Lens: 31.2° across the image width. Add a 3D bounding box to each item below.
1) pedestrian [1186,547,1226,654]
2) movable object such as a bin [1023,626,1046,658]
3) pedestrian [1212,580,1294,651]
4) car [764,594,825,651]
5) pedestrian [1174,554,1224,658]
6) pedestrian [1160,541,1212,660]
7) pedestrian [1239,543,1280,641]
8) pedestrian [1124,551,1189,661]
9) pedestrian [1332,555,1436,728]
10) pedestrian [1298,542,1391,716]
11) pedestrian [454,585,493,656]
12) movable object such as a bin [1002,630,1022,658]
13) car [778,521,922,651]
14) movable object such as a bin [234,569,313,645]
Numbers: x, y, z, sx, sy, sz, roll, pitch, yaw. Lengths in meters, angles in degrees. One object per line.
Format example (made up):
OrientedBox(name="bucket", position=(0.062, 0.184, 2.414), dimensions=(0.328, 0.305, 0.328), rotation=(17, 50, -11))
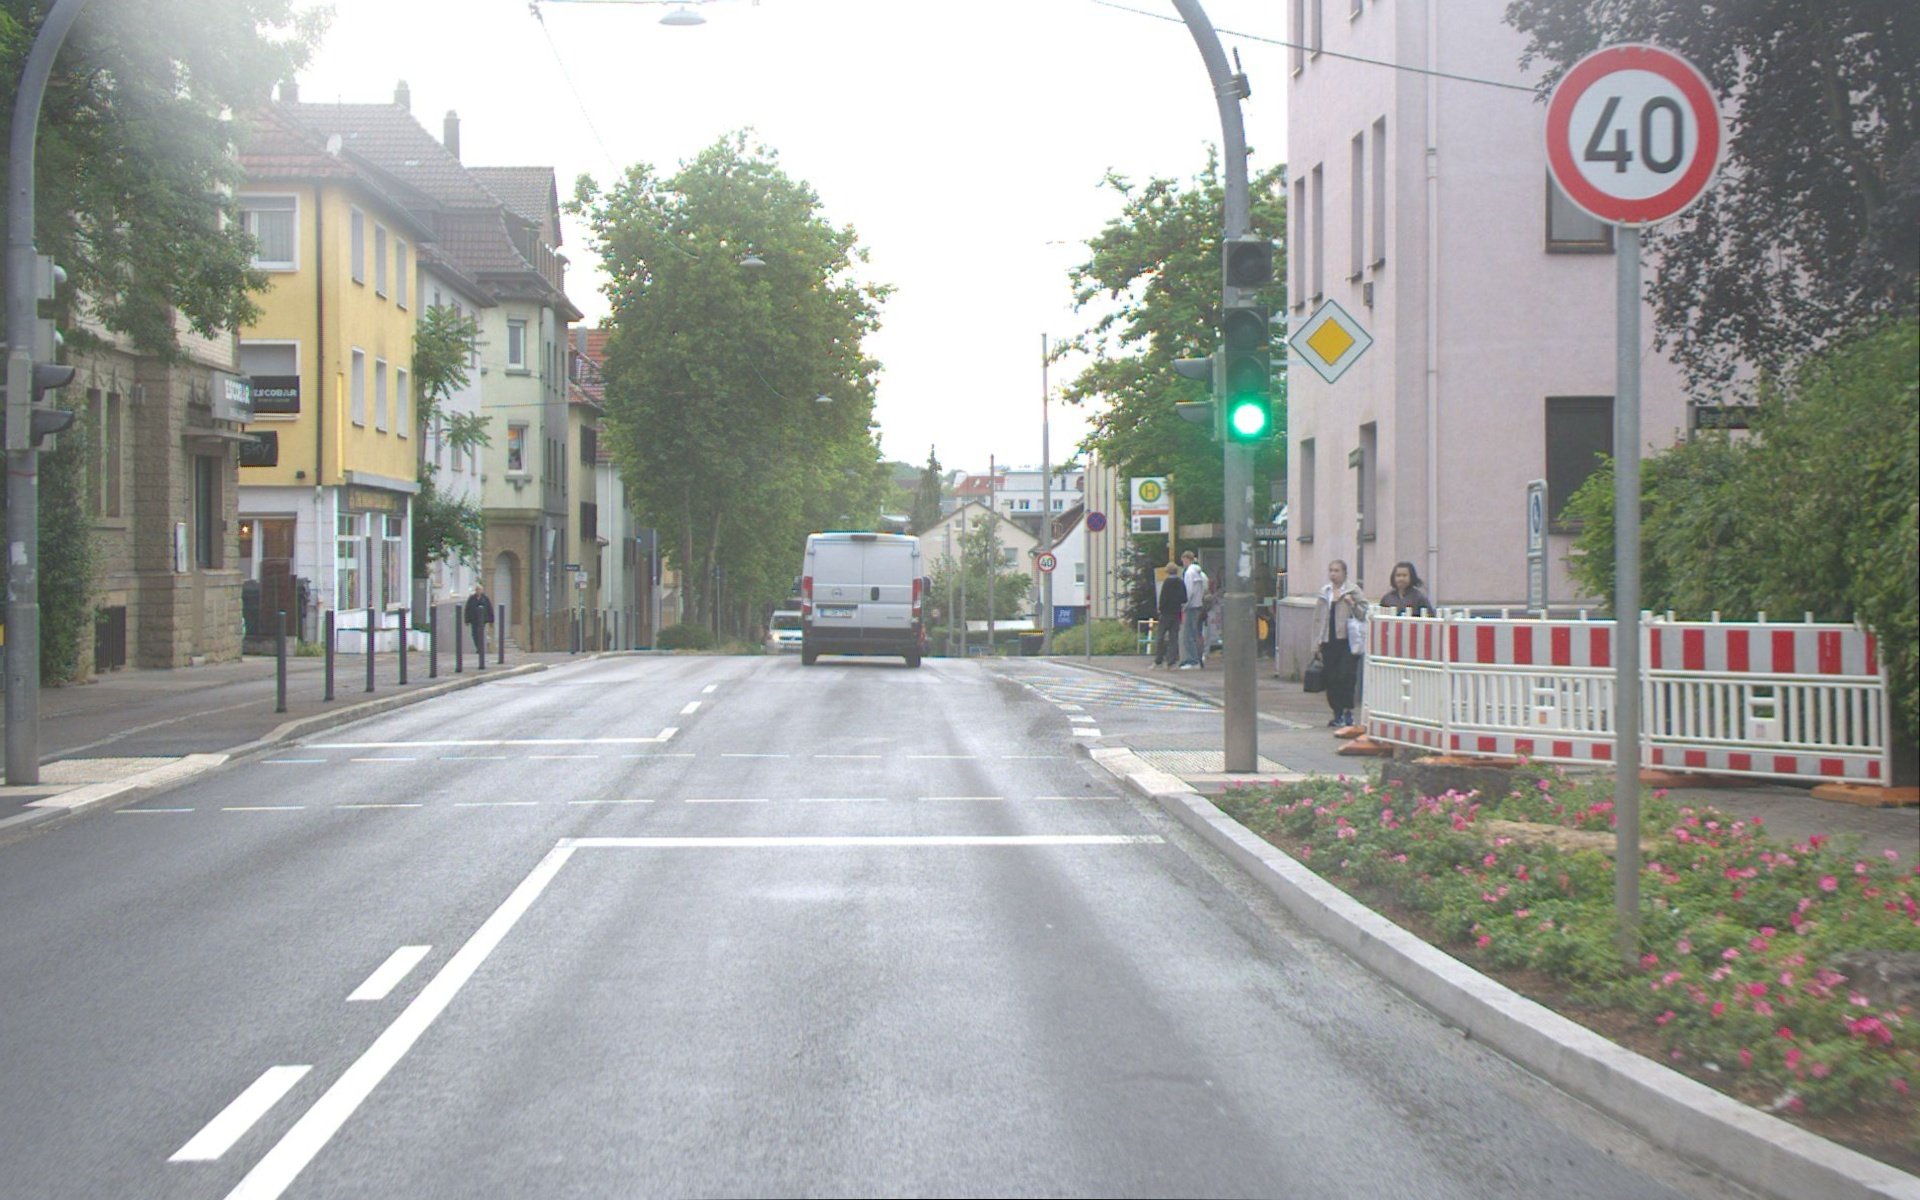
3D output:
OrientedBox(name="pedestrian", position=(3.982, 0.012, 55.573), dimensions=(0.446, 1.702, 0.557), rotation=(-2, 0, 19))
OrientedBox(name="movable object such as a bin", position=(2.586, 1.451, 119.426), dimensions=(0.695, 1.078, 0.778), rotation=(-3, -1, -1))
OrientedBox(name="pedestrian", position=(5.346, 0.278, 62.810), dimensions=(1.355, 1.269, 0.742), rotation=(-1, 0, -7))
OrientedBox(name="car", position=(-5.496, 0.758, 114.614), dimensions=(1.882, 1.863, 4.453), rotation=(0, -1, -1))
OrientedBox(name="pedestrian", position=(4.065, 0.100, 58.522), dimensions=(0.660, 1.735, 0.829), rotation=(-1, 0, -7))
OrientedBox(name="pedestrian", position=(3.611, 0.008, 54.881), dimensions=(0.487, 1.869, 0.631), rotation=(-2, 0, 35))
OrientedBox(name="pedestrian", position=(5.599, -0.149, 64.246), dimensions=(0.647, 1.825, 0.741), rotation=(-1, 0, 13))
OrientedBox(name="pedestrian", position=(3.107, 0.098, 54.377), dimensions=(0.634, 1.704, 0.749), rotation=(-2, 0, -35))
OrientedBox(name="pedestrian", position=(3.936, 0.377, 31.876), dimensions=(0.875, 1.555, 1.048), rotation=(1, 0, 10))
OrientedBox(name="pedestrian", position=(3.717, 0.276, 33.299), dimensions=(0.784, 1.636, 1.222), rotation=(1, 0, 3))
OrientedBox(name="pedestrian", position=(-11.685, 0.495, 82.574), dimensions=(0.815, 1.674, 0.993), rotation=(1, -1, -4))
OrientedBox(name="movable object such as a bin", position=(1.805, 1.519, 119.251), dimensions=(0.619, 0.933, 0.686), rotation=(-3, -1, -1))
OrientedBox(name="car", position=(-1.946, -0.263, 59.397), dimensions=(2.346, 2.153, 4.778), rotation=(0, 1, -4))
OrientedBox(name="movable object such as a bin", position=(-12.922, 0.124, 64.773), dimensions=(1.301, 1.397, 0.983), rotation=(1, 0, -2))
